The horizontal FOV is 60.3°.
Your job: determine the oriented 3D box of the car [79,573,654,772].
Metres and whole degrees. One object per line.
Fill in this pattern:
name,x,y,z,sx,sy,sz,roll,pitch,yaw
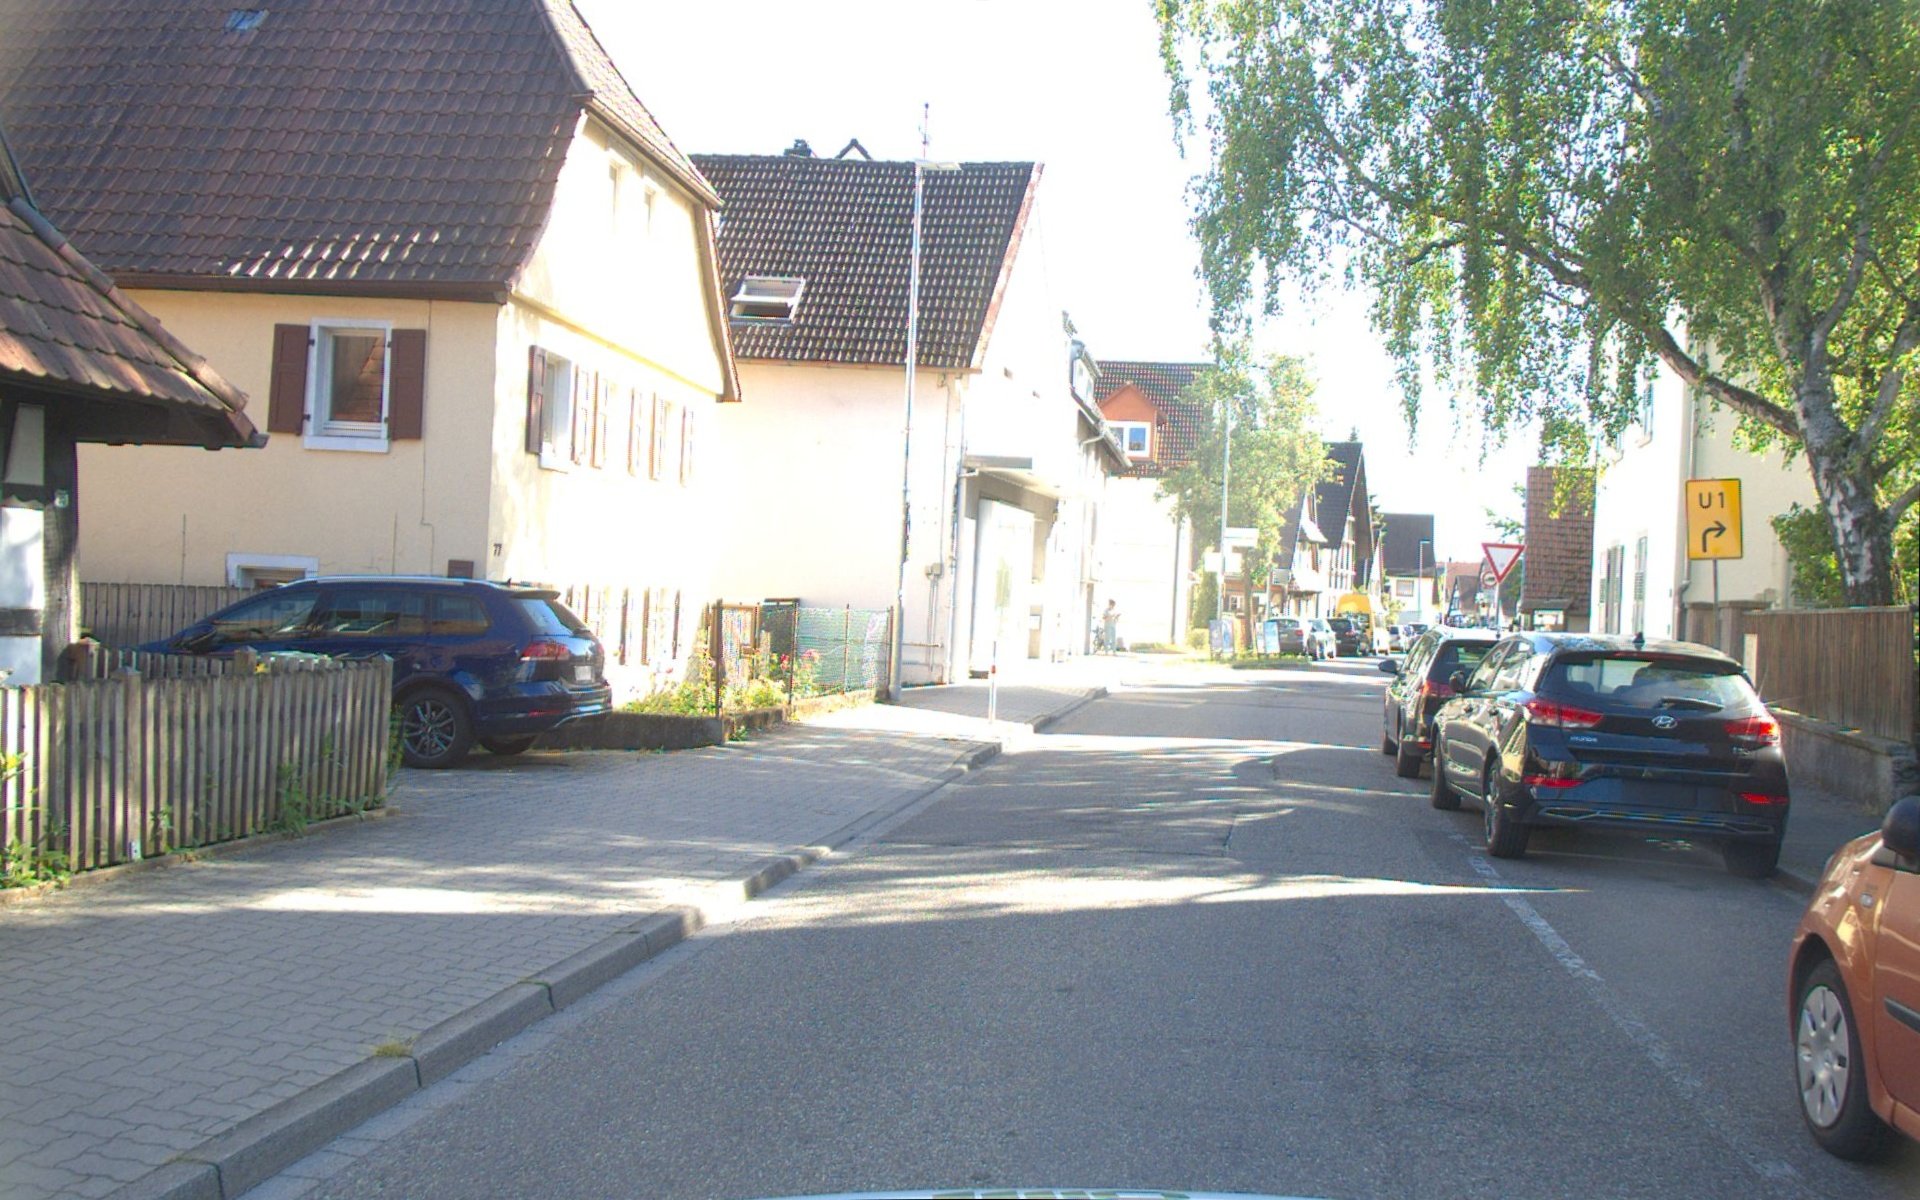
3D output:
car,-4.803,0.543,13.721,4.070,1.487,1.850,0,0,6

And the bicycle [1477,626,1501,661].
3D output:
bicycle,18.853,1.540,58.920,0.425,1.197,1.826,2,0,28

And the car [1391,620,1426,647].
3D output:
car,24.301,1.802,89.565,1.555,1.359,3.616,3,0,18

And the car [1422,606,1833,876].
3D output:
car,4.570,0.841,12.017,1.769,1.461,4.289,3,1,9

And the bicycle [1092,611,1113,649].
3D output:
bicycle,4.213,0.888,48.880,0.414,1.071,1.382,2,-1,13

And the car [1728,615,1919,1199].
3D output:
car,3.178,0.856,3.627,1.613,1.504,3.937,3,1,9

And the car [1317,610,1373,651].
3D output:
car,16.754,1.323,71.852,1.769,1.650,3.880,3,-1,21

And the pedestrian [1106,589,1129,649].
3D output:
pedestrian,4.666,0.557,48.949,0.473,1.722,0.557,3,-2,16

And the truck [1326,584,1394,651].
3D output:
truck,18.677,0.843,77.007,2.222,2.918,5.782,3,-1,21

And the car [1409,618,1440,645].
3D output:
car,27.415,1.880,97.570,1.555,1.468,3.616,3,0,18

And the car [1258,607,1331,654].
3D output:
car,12.044,1.094,59.386,1.829,1.532,4.107,3,-1,21

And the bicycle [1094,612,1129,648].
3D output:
bicycle,4.794,0.945,52.252,0.566,1.071,2.036,2,-1,19

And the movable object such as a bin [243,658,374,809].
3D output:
movable object such as a bin,-4.186,0.842,10.639,0.573,0.913,0.554,0,-1,31

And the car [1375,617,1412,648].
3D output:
car,22.383,1.681,85.333,1.611,1.457,3.616,3,0,18

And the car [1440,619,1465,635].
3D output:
car,55.384,3.027,186.137,1.931,1.610,3.998,3,0,7

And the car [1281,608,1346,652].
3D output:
car,13.590,1.172,63.497,1.769,1.532,4.107,3,-1,21

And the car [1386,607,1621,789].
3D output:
car,5.310,0.863,16.657,1.769,1.461,4.289,3,1,13
